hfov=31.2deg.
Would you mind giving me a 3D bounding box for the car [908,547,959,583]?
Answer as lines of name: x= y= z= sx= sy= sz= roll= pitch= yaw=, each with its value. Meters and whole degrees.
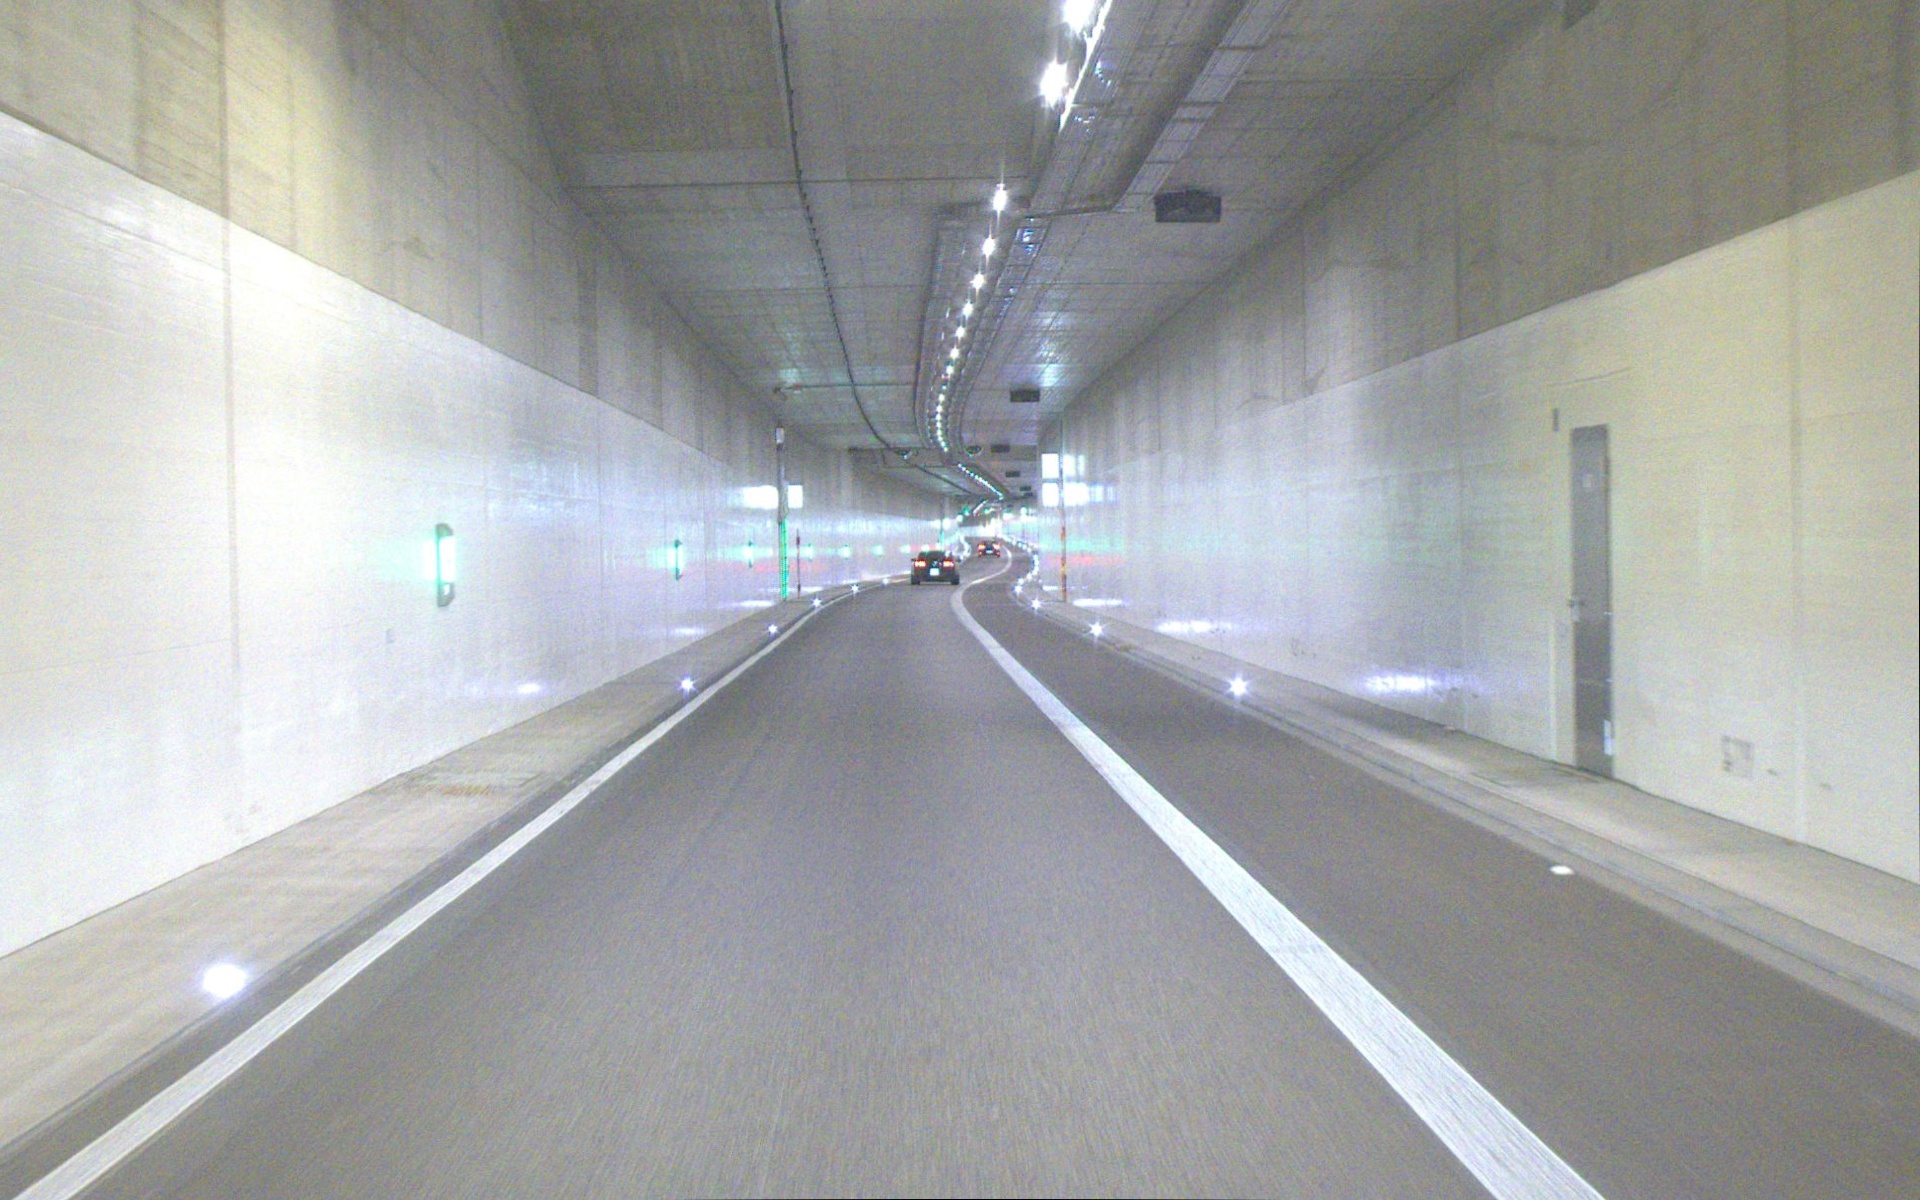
car: x=-1.069 y=-1.409 z=137.889 sx=1.993 sy=1.415 sz=4.000 roll=0 pitch=1 yaw=-1
